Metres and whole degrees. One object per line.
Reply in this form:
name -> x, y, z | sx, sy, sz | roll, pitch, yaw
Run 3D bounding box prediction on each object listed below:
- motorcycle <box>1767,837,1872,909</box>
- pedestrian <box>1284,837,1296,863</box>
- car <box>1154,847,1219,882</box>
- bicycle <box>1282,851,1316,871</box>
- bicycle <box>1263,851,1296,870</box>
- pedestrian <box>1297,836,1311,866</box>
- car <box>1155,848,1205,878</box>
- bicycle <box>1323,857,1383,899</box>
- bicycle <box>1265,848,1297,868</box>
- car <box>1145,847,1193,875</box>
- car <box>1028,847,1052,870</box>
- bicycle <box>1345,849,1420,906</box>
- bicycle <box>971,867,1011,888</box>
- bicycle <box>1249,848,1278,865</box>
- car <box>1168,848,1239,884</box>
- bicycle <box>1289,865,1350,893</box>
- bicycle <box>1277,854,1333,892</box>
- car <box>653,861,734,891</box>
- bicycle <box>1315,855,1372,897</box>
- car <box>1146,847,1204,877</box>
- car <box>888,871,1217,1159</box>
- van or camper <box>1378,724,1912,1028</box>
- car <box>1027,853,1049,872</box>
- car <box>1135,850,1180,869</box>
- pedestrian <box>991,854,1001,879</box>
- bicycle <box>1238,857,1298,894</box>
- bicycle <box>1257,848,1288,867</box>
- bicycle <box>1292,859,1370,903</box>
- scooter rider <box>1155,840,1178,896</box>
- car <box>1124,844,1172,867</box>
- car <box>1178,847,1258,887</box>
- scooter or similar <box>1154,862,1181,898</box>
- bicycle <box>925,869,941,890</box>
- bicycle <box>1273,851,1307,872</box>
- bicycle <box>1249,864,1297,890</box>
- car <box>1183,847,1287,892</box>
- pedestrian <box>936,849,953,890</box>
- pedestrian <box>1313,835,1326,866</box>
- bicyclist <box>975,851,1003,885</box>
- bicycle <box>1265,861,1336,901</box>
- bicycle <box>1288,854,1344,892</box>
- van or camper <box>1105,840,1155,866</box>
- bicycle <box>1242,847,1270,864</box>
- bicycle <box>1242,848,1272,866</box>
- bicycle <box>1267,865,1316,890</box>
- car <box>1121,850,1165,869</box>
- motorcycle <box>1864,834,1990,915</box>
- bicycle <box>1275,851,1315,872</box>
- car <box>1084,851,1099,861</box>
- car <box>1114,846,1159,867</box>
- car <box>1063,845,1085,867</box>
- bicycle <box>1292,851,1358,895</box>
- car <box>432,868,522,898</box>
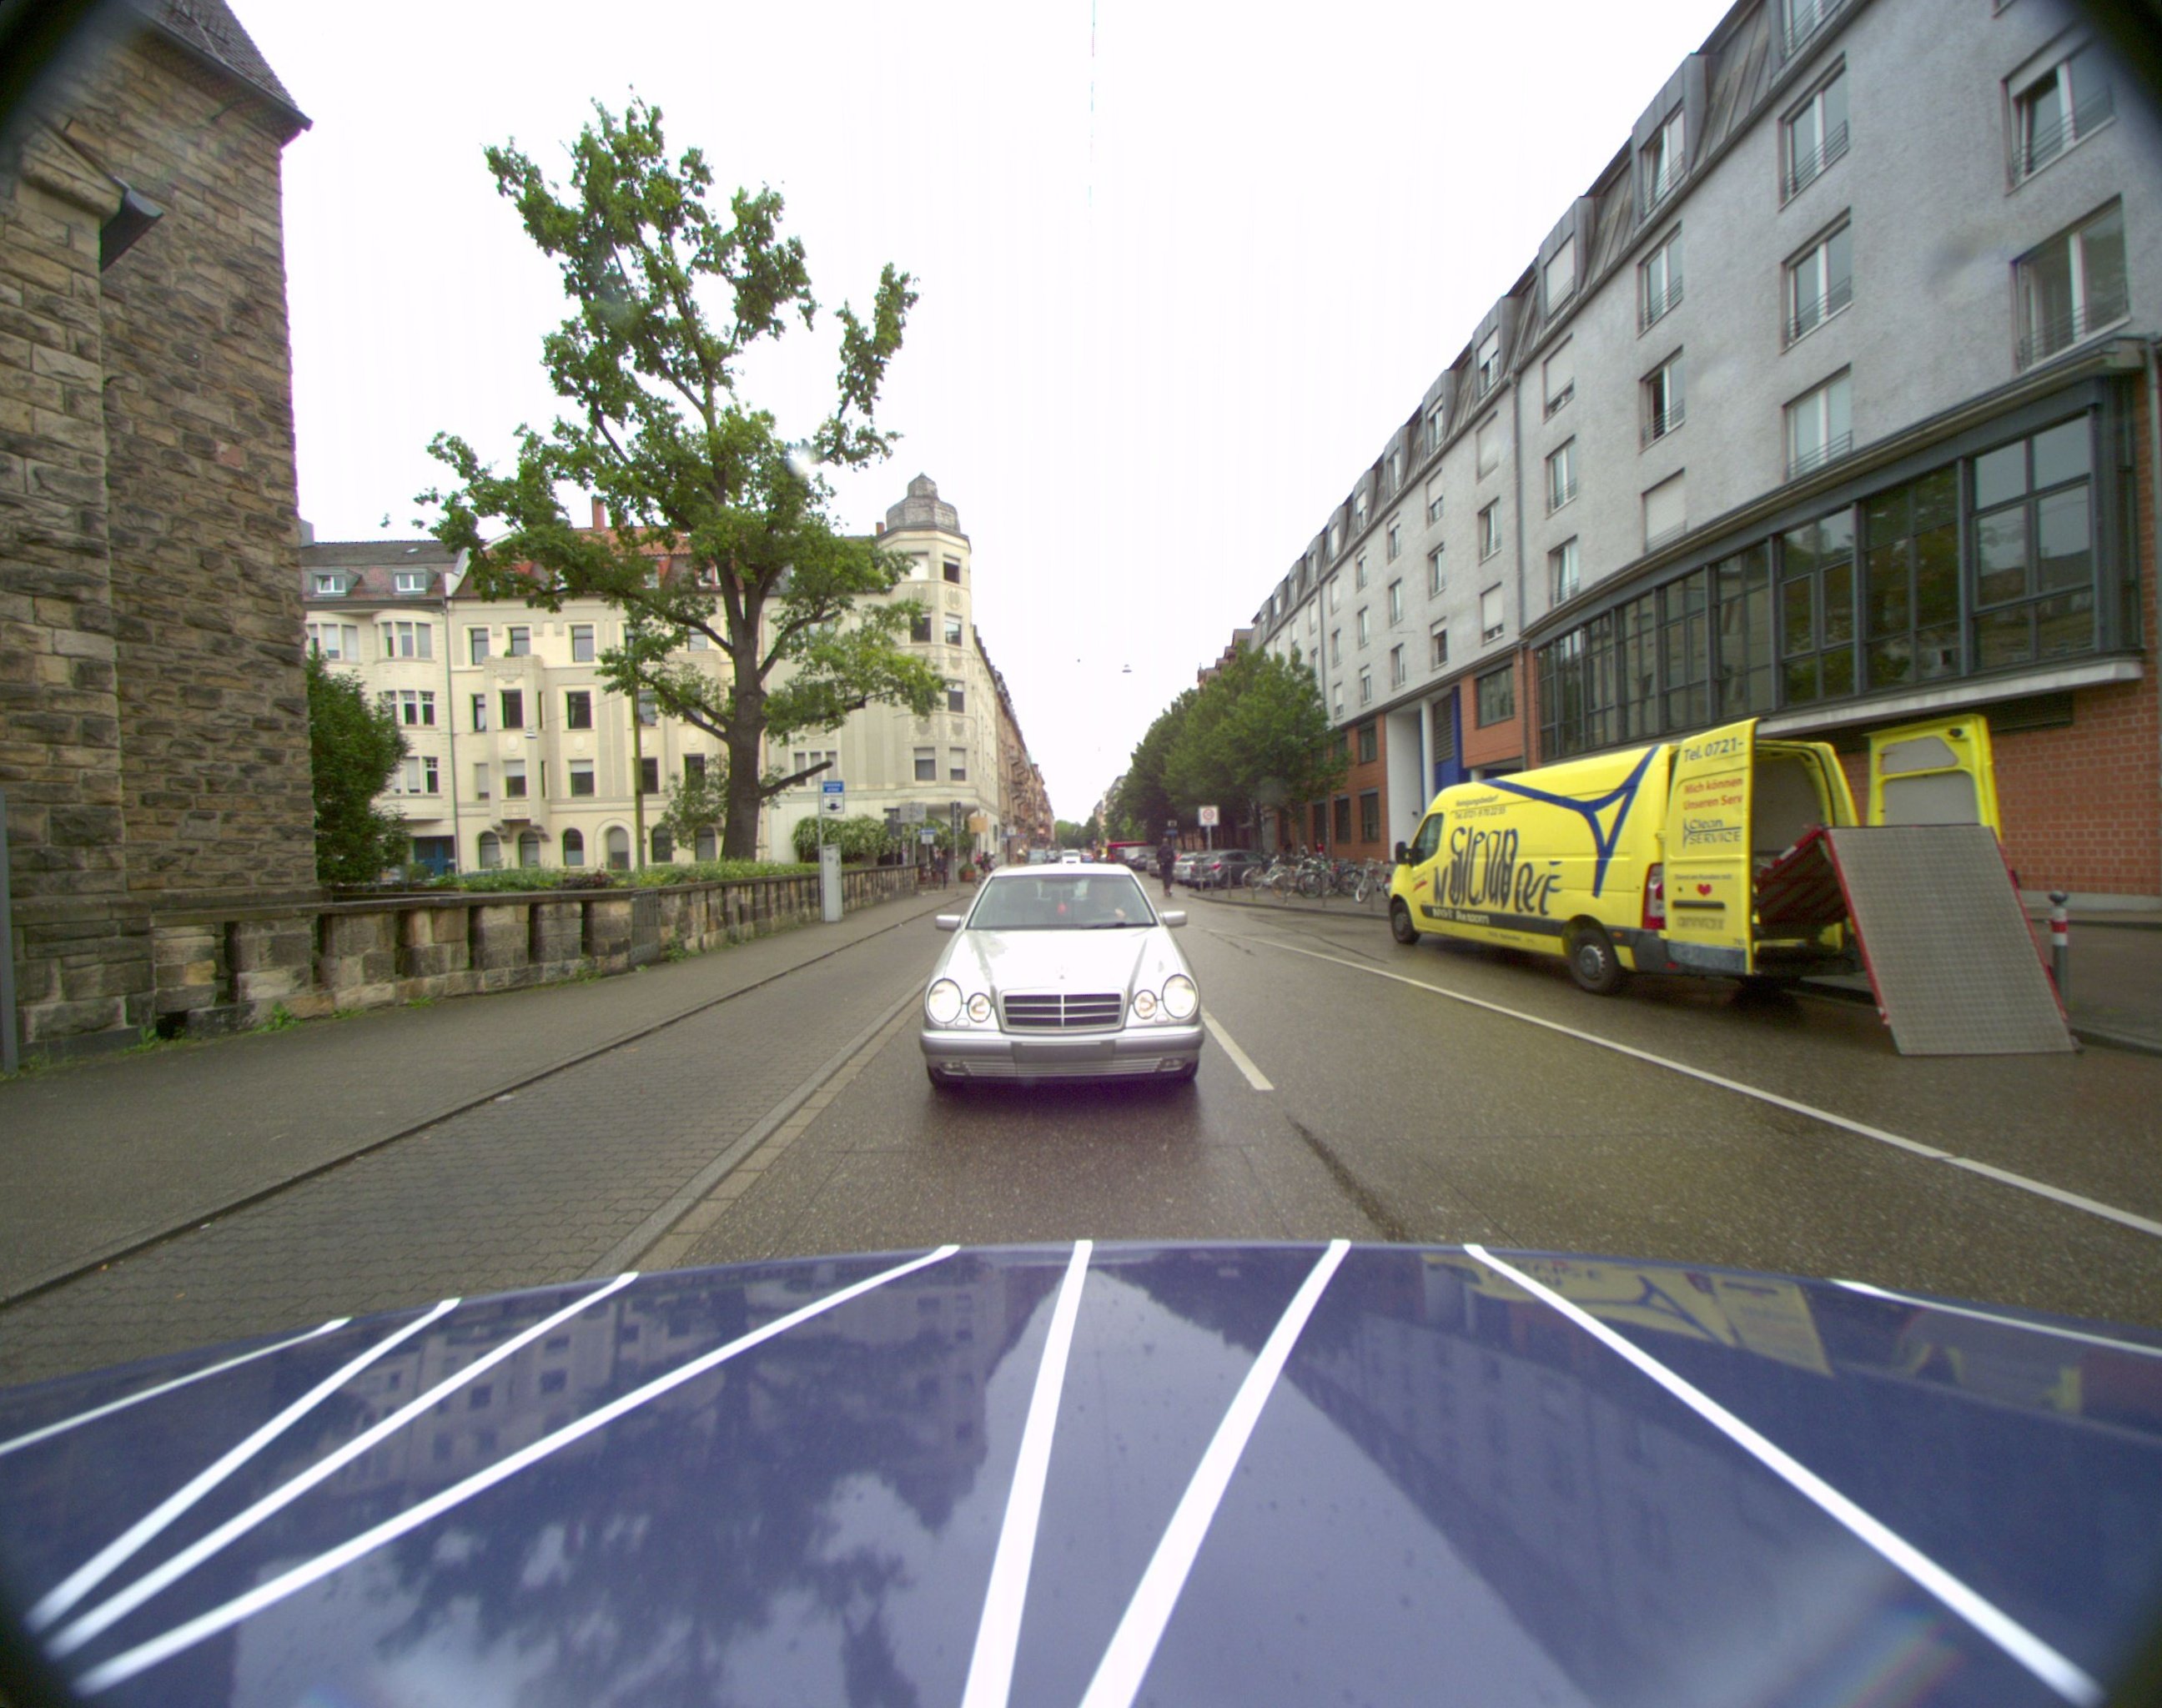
motorcycle -> 13.065, 0.294, 13.518 | 0.524, 1.174, 2.006 | -3, 1, 19
pedestrian -> 12.655, -0.234, 45.971 | 0.571, 1.588, 0.533 | -2, 1, 1
car -> 5.236, 0.491, 37.480 | 3.084, 1.543, 1.449 | -3, 1, -40
bicycle -> 11.095, 0.359, 38.655 | 1.590, 0.979, 0.445 | -2, 1, -8
bicycle -> 10.463, 0.342, 40.026 | 1.590, 0.979, 0.445 | -2, 1, -8
pedestrian -> 11.986, -0.178, 40.792 | 0.605, 1.601, 0.372 | -2, 1, -1
car -> 5.308, 0.483, 40.713 | 2.506, 1.442, 1.191 | -3, 1, -40
bicycle -> 7.490, 0.649, 20.920 | 1.462, 1.058, 0.418 | -3, 1, 4
bicycle -> 10.673, 0.215, 40.645 | 1.590, 0.979, 0.445 | -2, 1, -8
car -> 5.326, 0.391, 45.977 | 2.685, 1.546, 1.148 | -3, 1, -29
car -> -3.315, 0.318, 61.509 | 1.726, 1.794, 3.462 | -1, 0, 0
bicycle -> 7.571, 0.562, 19.057 | 1.922, 1.209, 0.768 | -6, 3, -35
bicycle -> -4.200, 1.073, 35.369 | 1.784, 0.879, 0.535 | -2, 1, -33
bicycle -> 10.787, 0.136, 44.980 | 1.590, 0.979, 0.465 | -2, 1, -8
car -> 5.597, 0.536, 34.596 | 3.084, 1.494, 1.449 | -3, 1, -40
bicycle -> 7.269, 0.756, 23.143 | 1.773, 0.757, 0.456 | -3, 1, -13
bicycle -> 7.214, 0.608, 24.446 | 1.610, 1.099, 0.520 | -3, 1, -5
car -> -19.275, 1.097, 37.827 | 3.270, 1.401, 1.448 | -1, 1, 3
bicycle -> 7.469, 0.627, 21.694 | 1.461, 1.096, 0.462 | -3, 1, 14
car -> 5.356, 0.460, 43.221 | 2.985, 1.546, 1.369 | -3, 1, -29
car -> -0.155, 0.931, 6.173 | 1.764, 1.420, 3.999 | -2, 0, 0
van or camper -> 6.047, 0.172, 9.535 | 2.201, 2.596, 5.941 | -1, 0, -1
car -> -3.144, 0.636, 56.440 | 1.447, 1.348, 3.204 | -1, 0, 0
car -> 6.123, 0.417, 60.414 | 1.685, 1.482, 3.799 | 0, 1, 40
pedestrian -> -4.925, 0.729, 43.978 | 0.482, 1.452, 0.392 | -1, 1, -1
bicycle -> 6.129, 0.687, 24.936 | 1.812, 1.099, 0.472 | -3, 1, -5
bicycle -> 10.556, 0.197, 41.810 | 1.590, 0.979, 0.465 | -2, 1, -8
bicycle -> 6.706, 0.716, 20.415 | 1.858, 1.067, 0.609 | -3, 1, 5
scooter rider -> 2.979, 0.474, 26.422 | 0.712, 1.924, 0.503 | -1, 1, -2
car -> 5.972, 0.123, 67.161 | 4.338, 1.884, 1.685 | -1, 1, -41
car -> 5.788, 0.543, 31.987 | 3.083, 1.494, 1.449 | -3, 1, -31
scooter or similar -> 2.990, 0.888, 26.355 | 0.702, 1.158, 1.385 | -1, 1, -2
bicycle -> -7.317, 1.241, 37.674 | 0.390, 0.888, 2.023 | -1, 3, 0
bicycle -> 10.471, 0.379, 38.111 | 1.590, 0.979, 0.445 | -2, 1, -8
bicycle -> 6.557, 0.791, 26.016 | 1.473, 0.800, 0.497 | -3, 1, 3
car -> 5.913, 0.543, 29.061 | 3.629, 1.494, 1.736 | -3, 2, -31
pedestrian -> -6.326, 0.716, 35.223 | 0.646, 1.862, 0.693 | -1, 1, 0
pedestrian -> 12.723, -0.179, 40.544 | 0.514, 1.601, 0.425 | -2, 1, 1
bicyclist -> -4.265, 0.630, 35.320 | 1.136, 1.521, 0.535 | -2, 1, -33
bicycle -> 6.126, 0.752, 21.253 | 1.800, 0.987, 0.520 | -3, 1, -2
bicycle -> 7.361, 0.587, 23.797 | 1.611, 1.099, 0.519 | -3, 1, -13
van or camper -> 4.958, -0.125, 76.593 | 4.604, 2.597, 1.999 | -1, 1, -27
bicycle -> 10.638, 0.116, 46.114 | 1.590, 0.979, 0.465 | -2, 1, -8
bicycle -> 10.202, 0.165, 44.084 | 1.590, 0.979, 0.465 | -2, 1, -8
bicycle -> 7.036, 0.785, 25.388 | 1.473, 0.717, 0.497 | -3, 1, 3
car -> 5.185, 0.447, 62.929 | 1.685, 1.482, 3.799 | 0, 1, 40
motorcycle -> 13.272, 0.289, 11.990 | 0.524, 1.174, 1.760 | -3, 1, 19
bicycle -> 10.599, 0.385, 37.637 | 1.851, 0.979, 0.445 | -2, 1, -8
car -> 1.357, 0.269, 98.132 | 1.651, 1.301, 3.311 | -1, 0, -3
car -> 5.183, 0.223, 70.673 | 4.338, 1.822, 1.571 | -1, 1, -41
car -> -0.674, 0.157, 73.602 | 1.998, 2.002, 4.000 | -1, 1, 1
bicycle -> 7.251, 0.564, 22.552 | 1.815, 1.187, 0.519 | -3, 1, -13
car -> -29.697, 1.418, 37.387 | 3.270, 1.401, 1.448 | -1, 1, 3
